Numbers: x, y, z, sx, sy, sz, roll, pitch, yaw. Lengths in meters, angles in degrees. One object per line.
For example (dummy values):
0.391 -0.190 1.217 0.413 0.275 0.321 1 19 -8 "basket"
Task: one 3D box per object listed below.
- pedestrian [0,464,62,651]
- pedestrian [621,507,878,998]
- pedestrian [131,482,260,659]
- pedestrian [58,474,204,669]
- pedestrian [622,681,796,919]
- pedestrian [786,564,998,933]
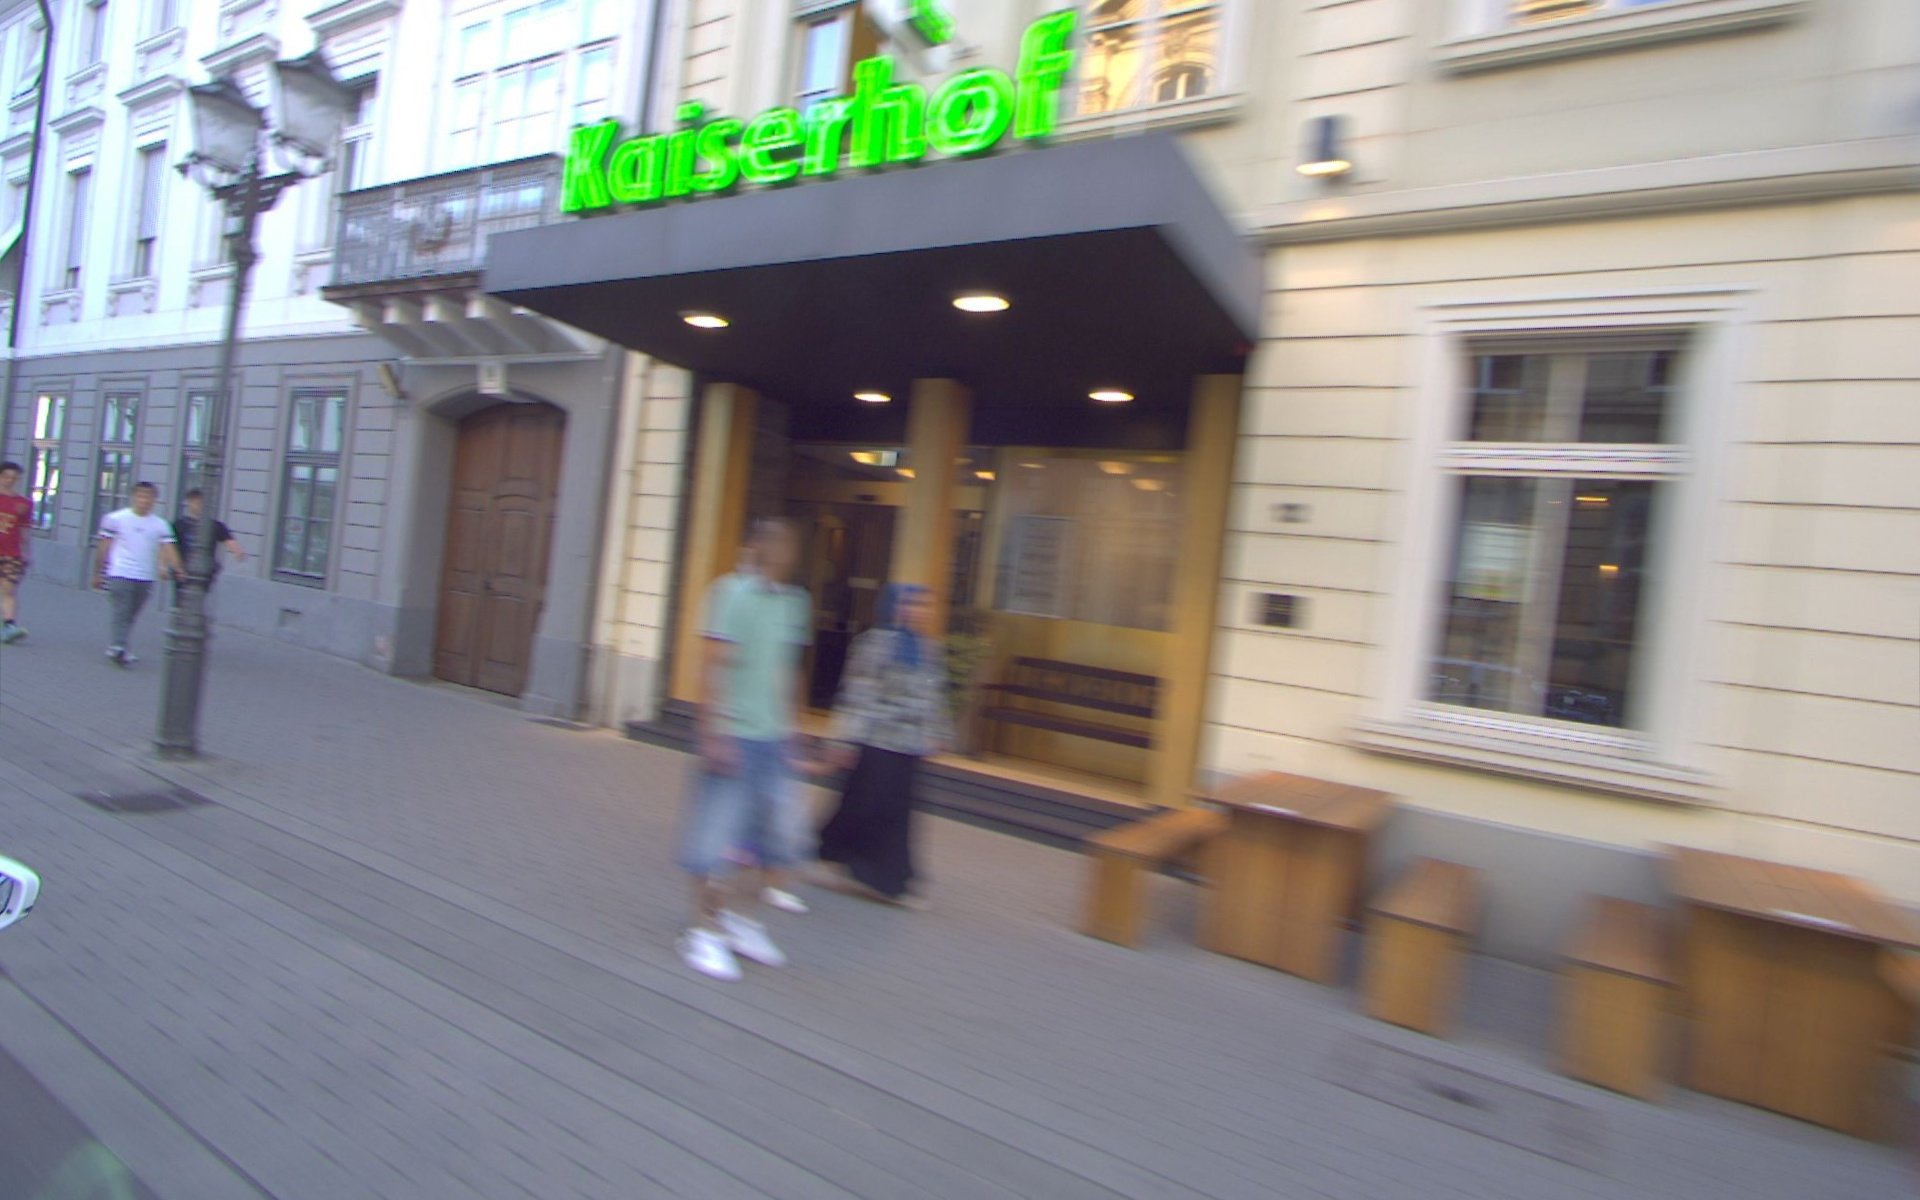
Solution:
-9.717 -0.448 10.157 0.898 1.811 0.621 7 0 33 "pedestrian"
-0.829 0.561 4.021 0.549 1.751 0.608 7 0 32 "pedestrian"
-8.152 -0.311 10.733 0.859 1.751 0.714 7 0 34 "pedestrian"
-8.037 -0.272 9.752 0.867 1.751 0.748 7 0 35 "pedestrian"
-1.199 0.920 4.826 0.549 0.992 0.460 7 0 33 "pedestrian"
-0.324 0.686 4.936 0.605 1.620 0.630 7 0 32 "pedestrian"
